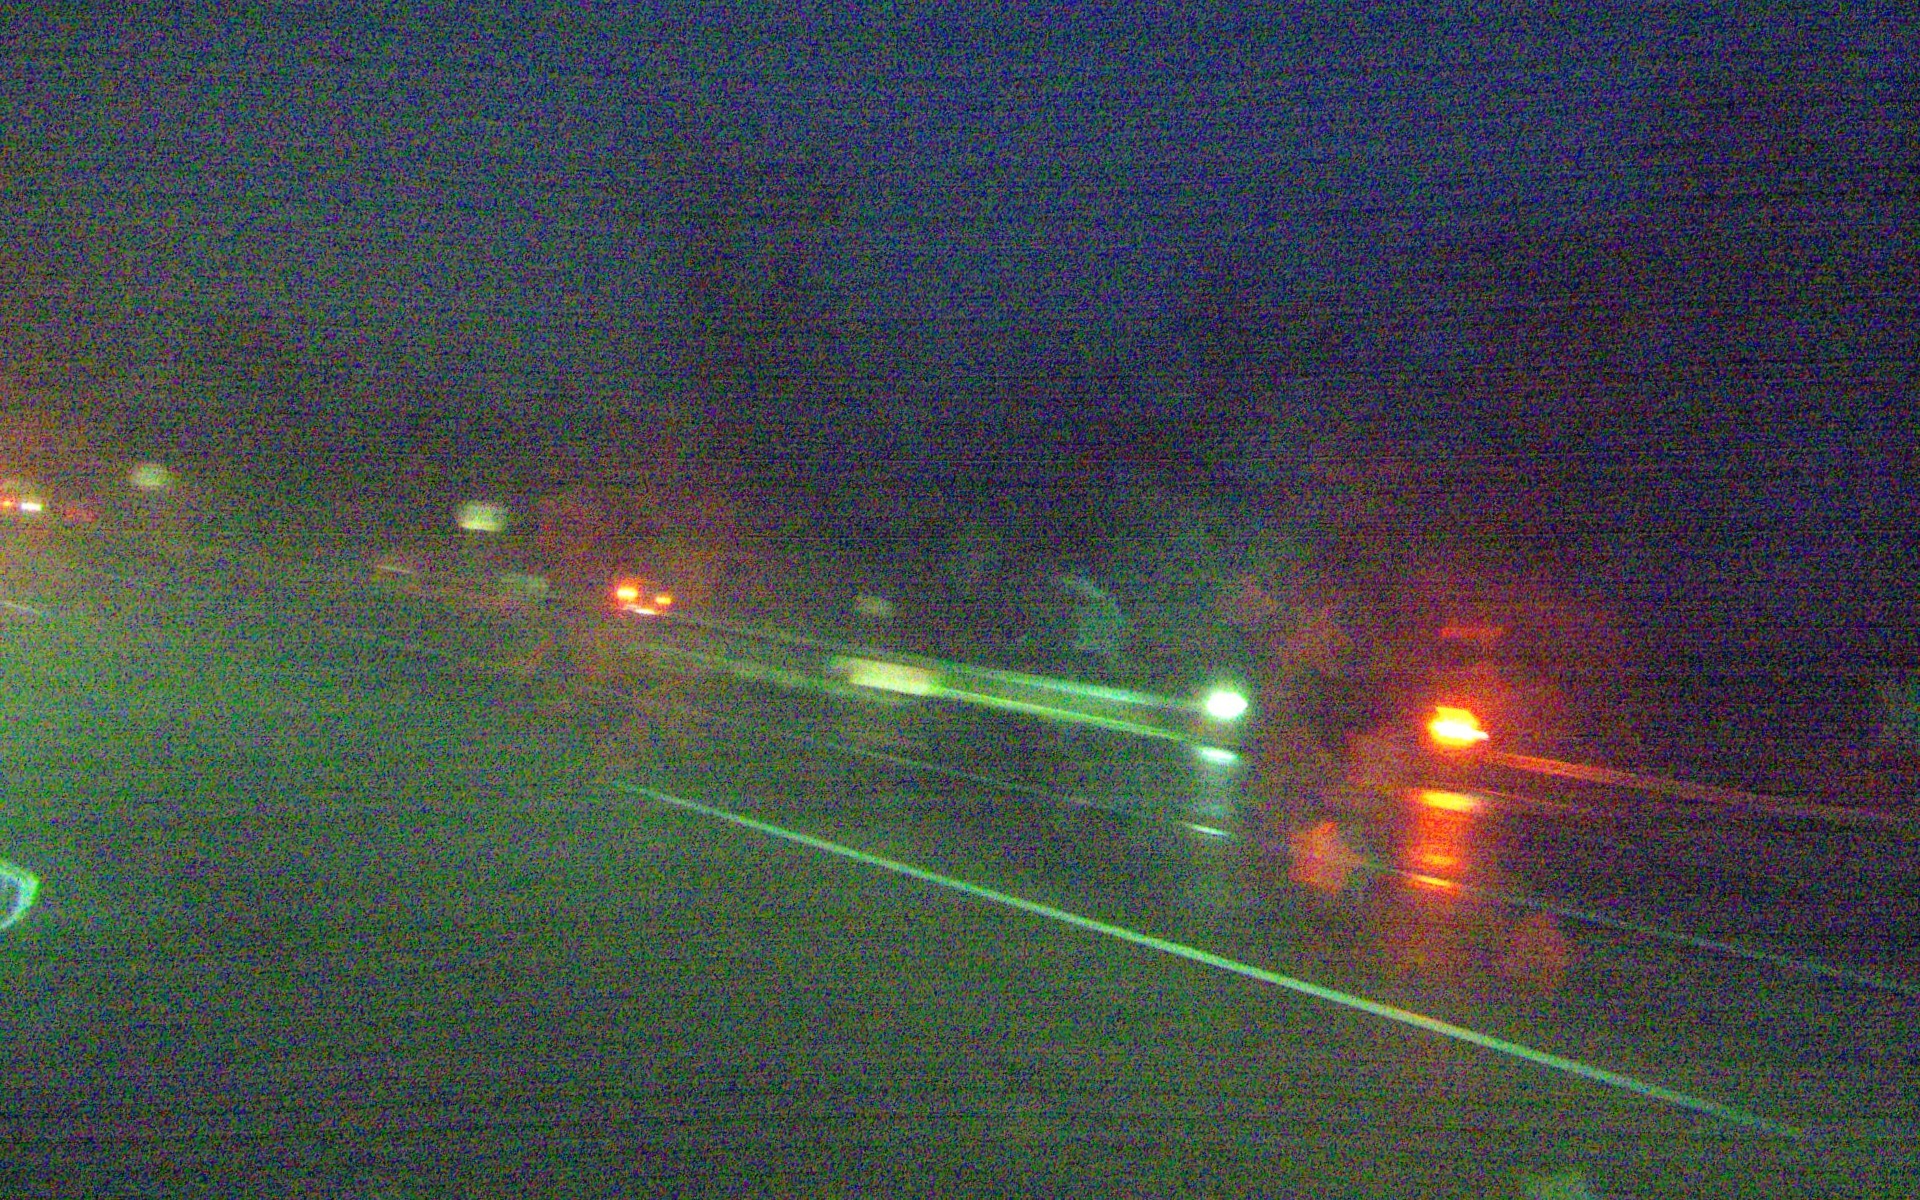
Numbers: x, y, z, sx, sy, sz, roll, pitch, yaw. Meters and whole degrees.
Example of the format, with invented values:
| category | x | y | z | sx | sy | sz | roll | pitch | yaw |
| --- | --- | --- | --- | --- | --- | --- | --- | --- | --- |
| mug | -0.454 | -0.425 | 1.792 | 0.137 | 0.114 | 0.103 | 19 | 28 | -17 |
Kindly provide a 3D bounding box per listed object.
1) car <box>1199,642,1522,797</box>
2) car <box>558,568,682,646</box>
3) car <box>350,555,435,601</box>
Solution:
| category | x | y | z | sx | sy | sz | roll | pitch | yaw |
| --- | --- | --- | --- | --- | --- | --- | --- | --- | --- |
| car | 7.767 | 2.270 | 19.923 | 5.374 | 2.036 | 2.061 | 7 | -2 | 43 |
| car | -11.861 | 0.224 | 35.007 | 3.945 | 2.036 | 2.231 | 7 | -2 | 42 |
| car | -27.703 | -1.074 | 49.105 | 3.939 | 1.617 | 1.997 | 7 | -4 | 37 |
